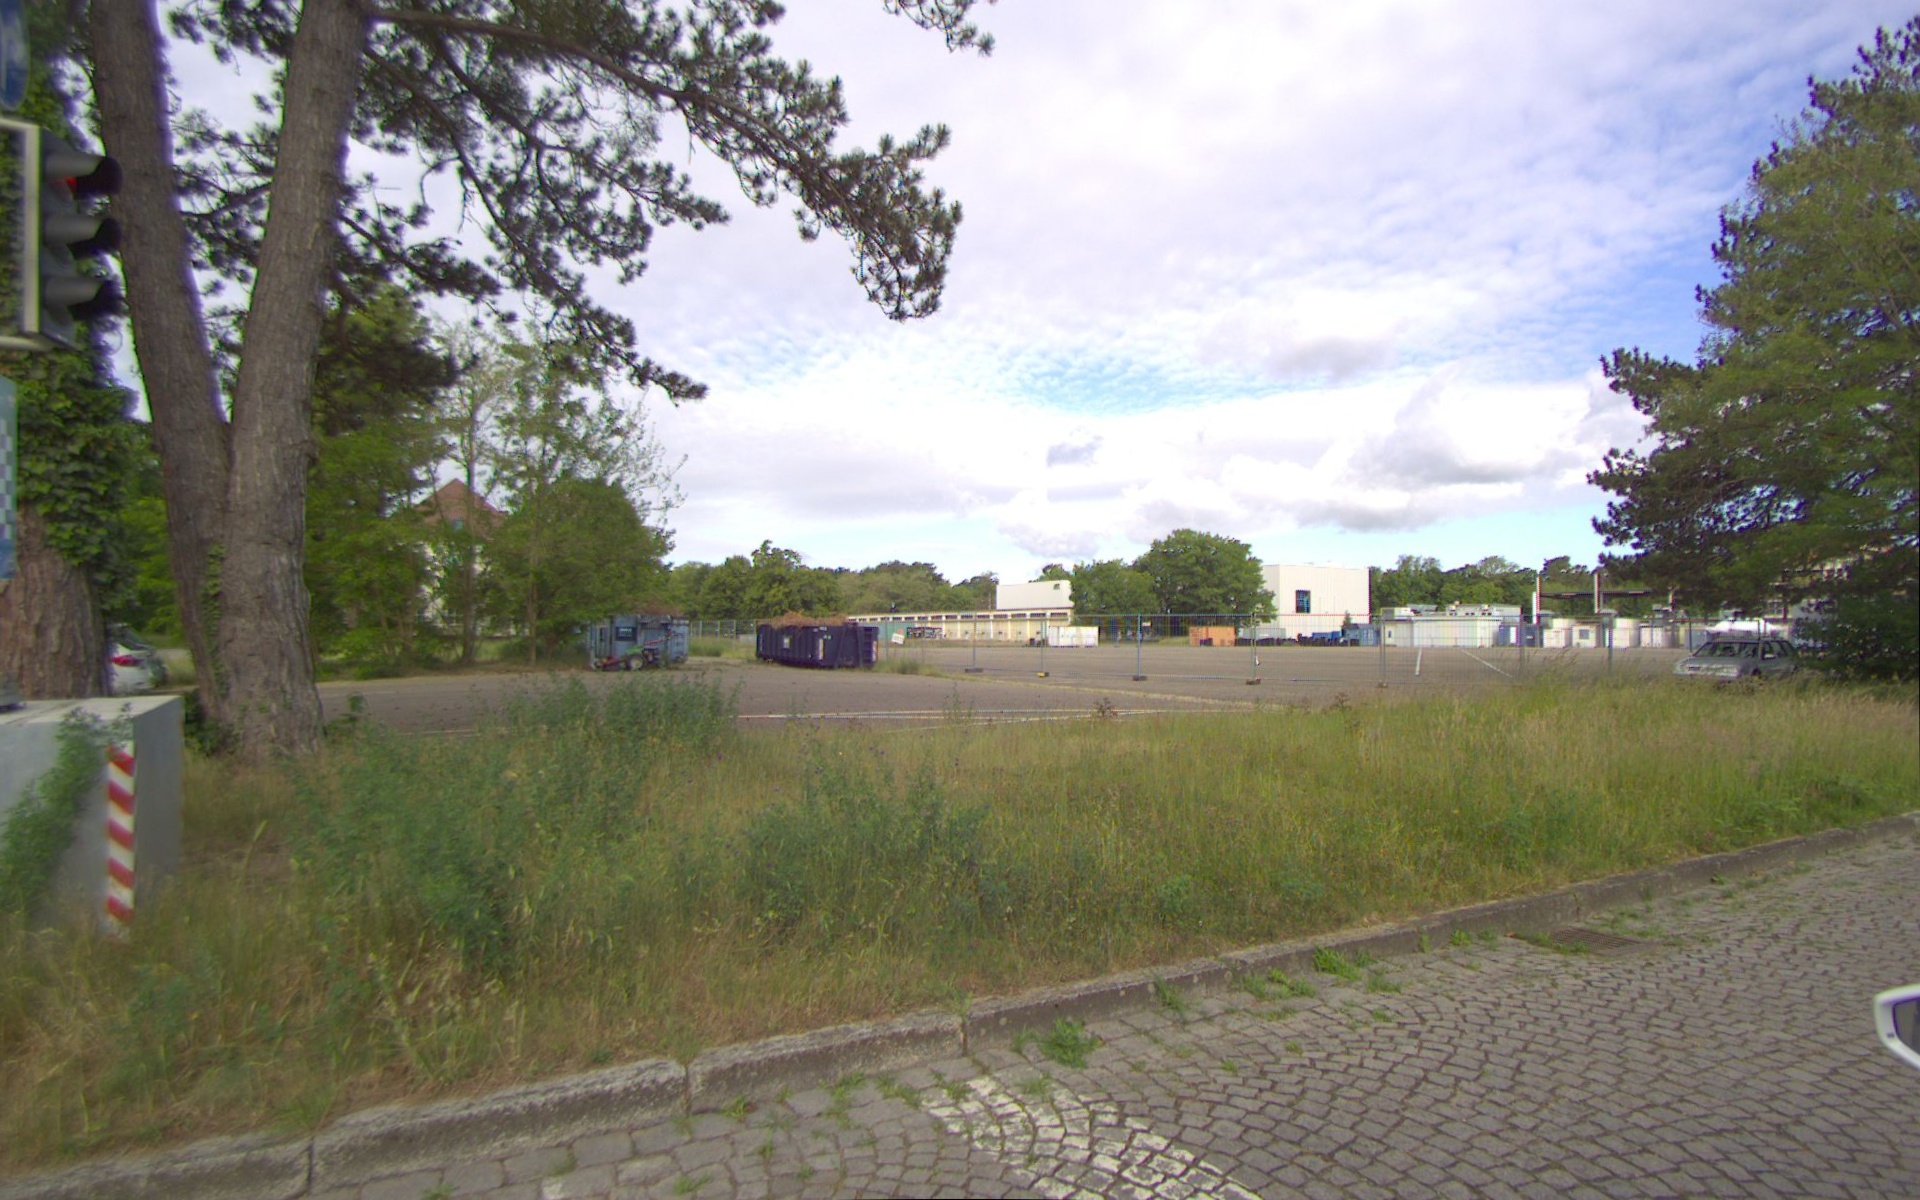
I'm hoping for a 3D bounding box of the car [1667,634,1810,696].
[{"bbox_3d":[20.436,1.640,26.344,3.953,1.507,1.605,1,-2,-30],"label":"car"}]

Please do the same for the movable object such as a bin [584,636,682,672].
[{"bbox_3d":[-9.923,1.617,30.530,2.632,1.061,1.170,1,-2,-35],"label":"movable object such as a bin"}]

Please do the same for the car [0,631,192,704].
[{"bbox_3d":[-20.455,1.511,23.088,4.281,1.586,1.782,1,-2,-34],"label":"car"}]

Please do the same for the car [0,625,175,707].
[{"bbox_3d":[-19.223,1.367,20.959,4.280,1.522,1.844,-2,0,-34],"label":"car"}]

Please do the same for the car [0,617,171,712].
[{"bbox_3d":[-17.574,1.215,18.744,4.280,1.605,1.811,-2,0,-34],"label":"car"}]

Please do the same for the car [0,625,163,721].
[{"bbox_3d":[-16.170,1.223,16.438,4.689,1.461,1.799,-1,-1,-33],"label":"car"}]
